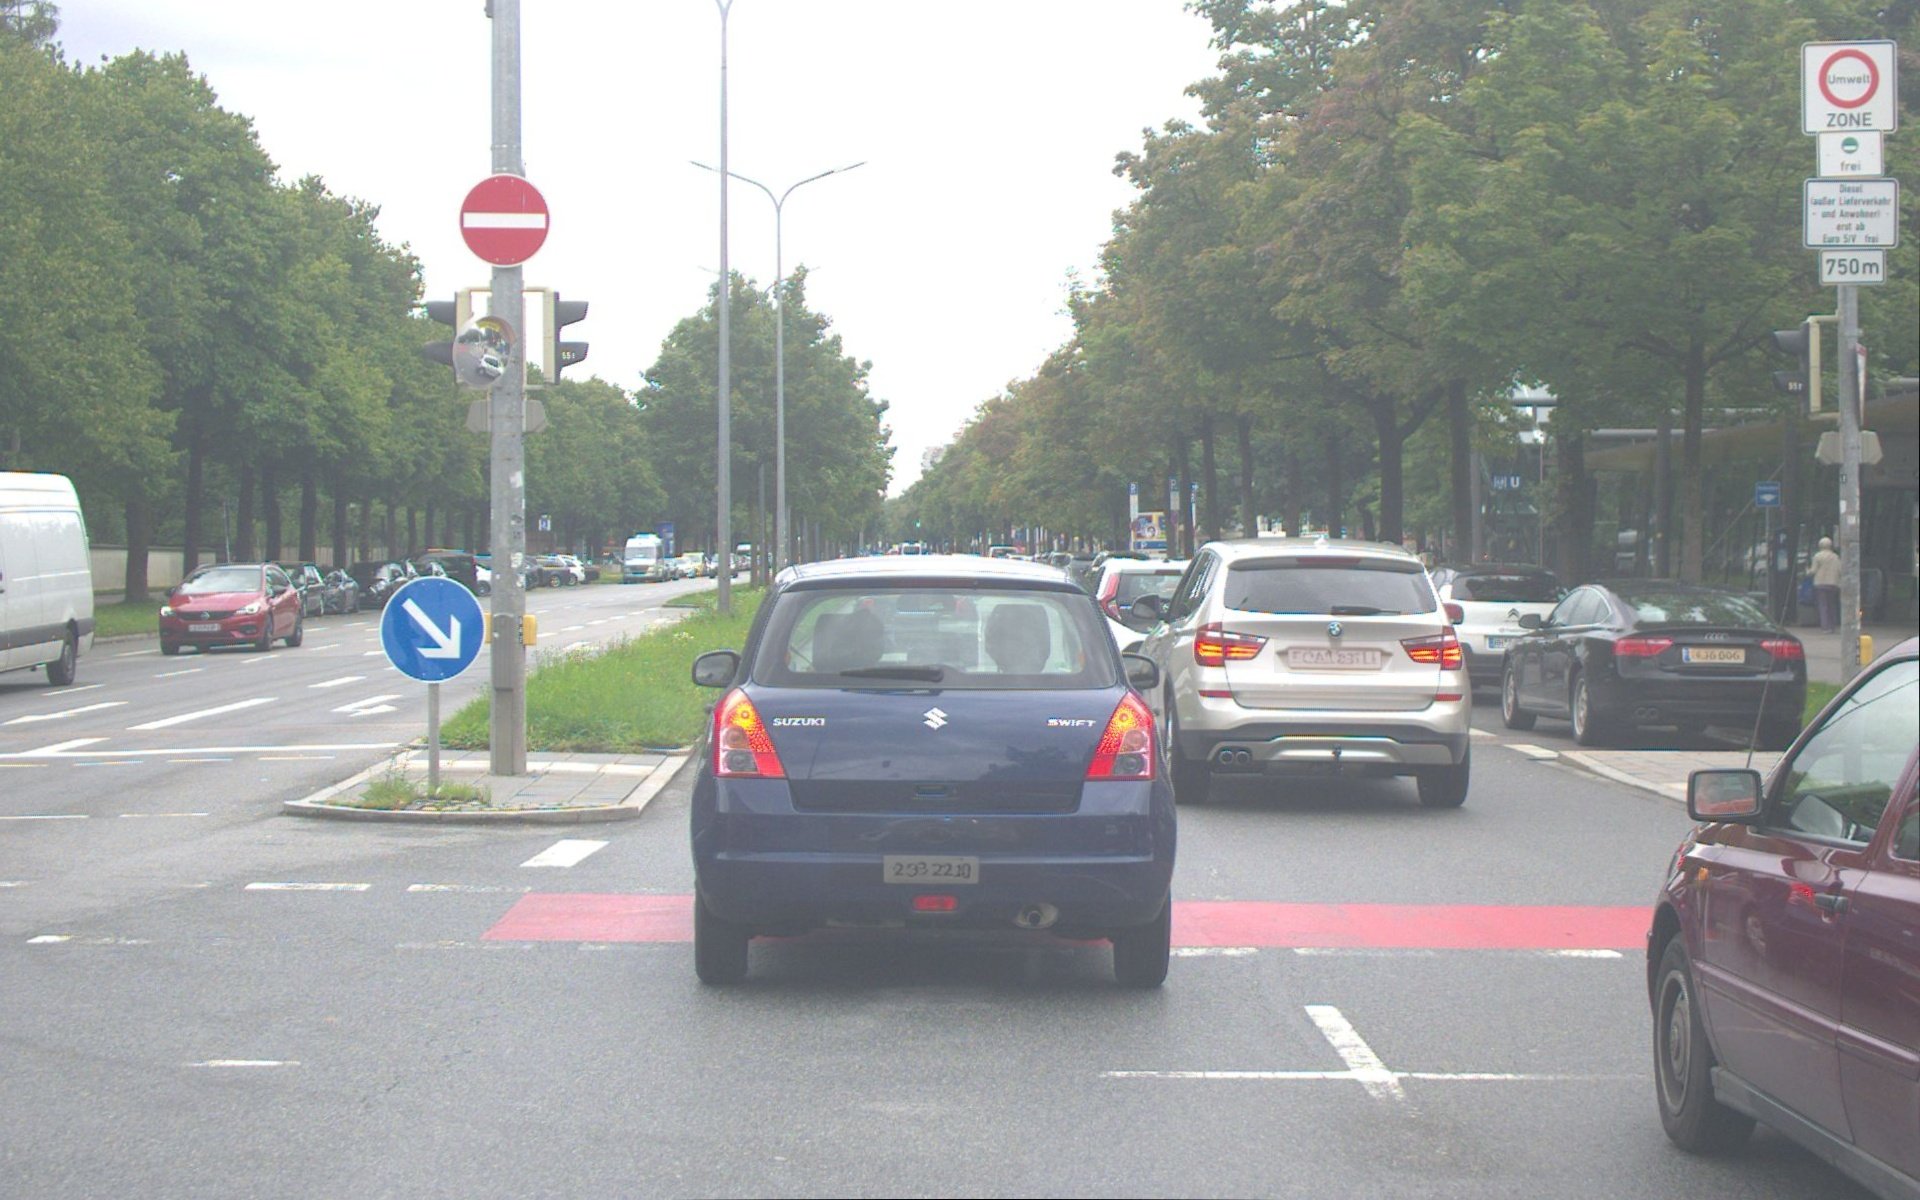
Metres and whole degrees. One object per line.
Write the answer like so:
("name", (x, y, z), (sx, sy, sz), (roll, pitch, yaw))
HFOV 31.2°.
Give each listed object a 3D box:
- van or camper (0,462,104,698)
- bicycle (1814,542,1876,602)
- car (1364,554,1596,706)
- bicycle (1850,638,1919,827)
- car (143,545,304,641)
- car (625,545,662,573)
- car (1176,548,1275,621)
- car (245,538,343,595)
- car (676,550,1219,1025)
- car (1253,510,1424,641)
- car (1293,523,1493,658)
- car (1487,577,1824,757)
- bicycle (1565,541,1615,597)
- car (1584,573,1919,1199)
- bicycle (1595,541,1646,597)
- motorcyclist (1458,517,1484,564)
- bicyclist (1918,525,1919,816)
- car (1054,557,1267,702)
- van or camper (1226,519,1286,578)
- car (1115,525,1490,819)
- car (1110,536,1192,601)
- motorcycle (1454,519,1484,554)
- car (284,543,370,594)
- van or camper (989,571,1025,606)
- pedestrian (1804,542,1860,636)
("van or camper", (-11.858, -0.218, 39.946), (2.178, 2.638, 6.952), (-2, 1, -1))
("bicycle", (19.270, -0.626, 74.933), (0.645, 1.276, 2.551), (0, 1, -1))
("car", (5.603, 0.281, 37.532), (1.712, 1.542, 4.382), (0, 1, -2))
("bicycle", (6.283, 0.770, 20.681), (1.941, 1.077, 0.748), (-1, 1, -36))
("car", (-12.304, -0.146, 57.669), (1.743, 1.447, 4.658), (-2, 1, -1))
("car", (-18.272, -2.375, 198.703), (1.913, 1.537, 4.188), (0, 1, -3))
("car", (5.631, -0.362, 73.290), (1.717, 1.503, 4.224), (0, 1, -1))
("car", (-18.117, -0.933, 93.698), (1.799, 1.485, 4.915), (1, 1, -1))
("car", (-0.132, 0.588, 13.324), (1.789, 1.550, 4.001), (0, 1, -3))
("car", (5.237, -0.380, 48.082), (1.747, 1.718, 4.906), (1, 1, -1))
("car", (5.331, -0.168, 42.895), (1.747, 1.542, 4.643), (-1, 1, -2))
("car", (5.836, 0.513, 29.400), (1.710, 1.356, 4.622), (1, 1, -3))
("bicycle", (14.652, -0.734, 80.033), (0.645, 1.276, 2.551), (0, 1, -1))
("car", (2.581, 0.683, 7.480), (1.622, 1.449, 3.950), (0, 1, -2))
("bicycle", (15.371, -0.734, 80.015), (0.645, 1.276, 2.551), (0, 1, -1))
("motorcyclist", (19.343, -2.238, 130.204), (0.691, 1.731, 0.953), (-4, 1, -1))
("bicyclist", (6.344, 0.425, 20.726), (0.825, 1.758, 0.746), (-1, 1, -36))
("car", (2.075, 0.269, 36.622), (1.850, 1.442, 4.098), (0, 1, -3))
("van or camper", (12.993, -2.259, 151.257), (2.024, 2.549, 5.957), (0, 1, -1))
("car", (2.119, 0.393, 22.374), (1.850, 1.737, 4.098), (0, 1, -3))
("car", (5.044, -0.860, 91.171), (1.786, 1.669, 4.596), (0, 1, -2))
("motorcycle", (19.313, -2.403, 130.497), (0.696, 1.286, 2.066), (-4, 1, -1))
("car", (-18.212, -0.919, 99.076), (1.659, 1.391, 4.707), (1, 1, -1))
("van or camper", (2.652, -0.660, 194.794), (1.944, 1.968, 4.306), (0, 1, 0))
("pedestrian", (14.041, -0.178, 55.356), (0.578, 1.508, 0.694), (0, 1, -19))
